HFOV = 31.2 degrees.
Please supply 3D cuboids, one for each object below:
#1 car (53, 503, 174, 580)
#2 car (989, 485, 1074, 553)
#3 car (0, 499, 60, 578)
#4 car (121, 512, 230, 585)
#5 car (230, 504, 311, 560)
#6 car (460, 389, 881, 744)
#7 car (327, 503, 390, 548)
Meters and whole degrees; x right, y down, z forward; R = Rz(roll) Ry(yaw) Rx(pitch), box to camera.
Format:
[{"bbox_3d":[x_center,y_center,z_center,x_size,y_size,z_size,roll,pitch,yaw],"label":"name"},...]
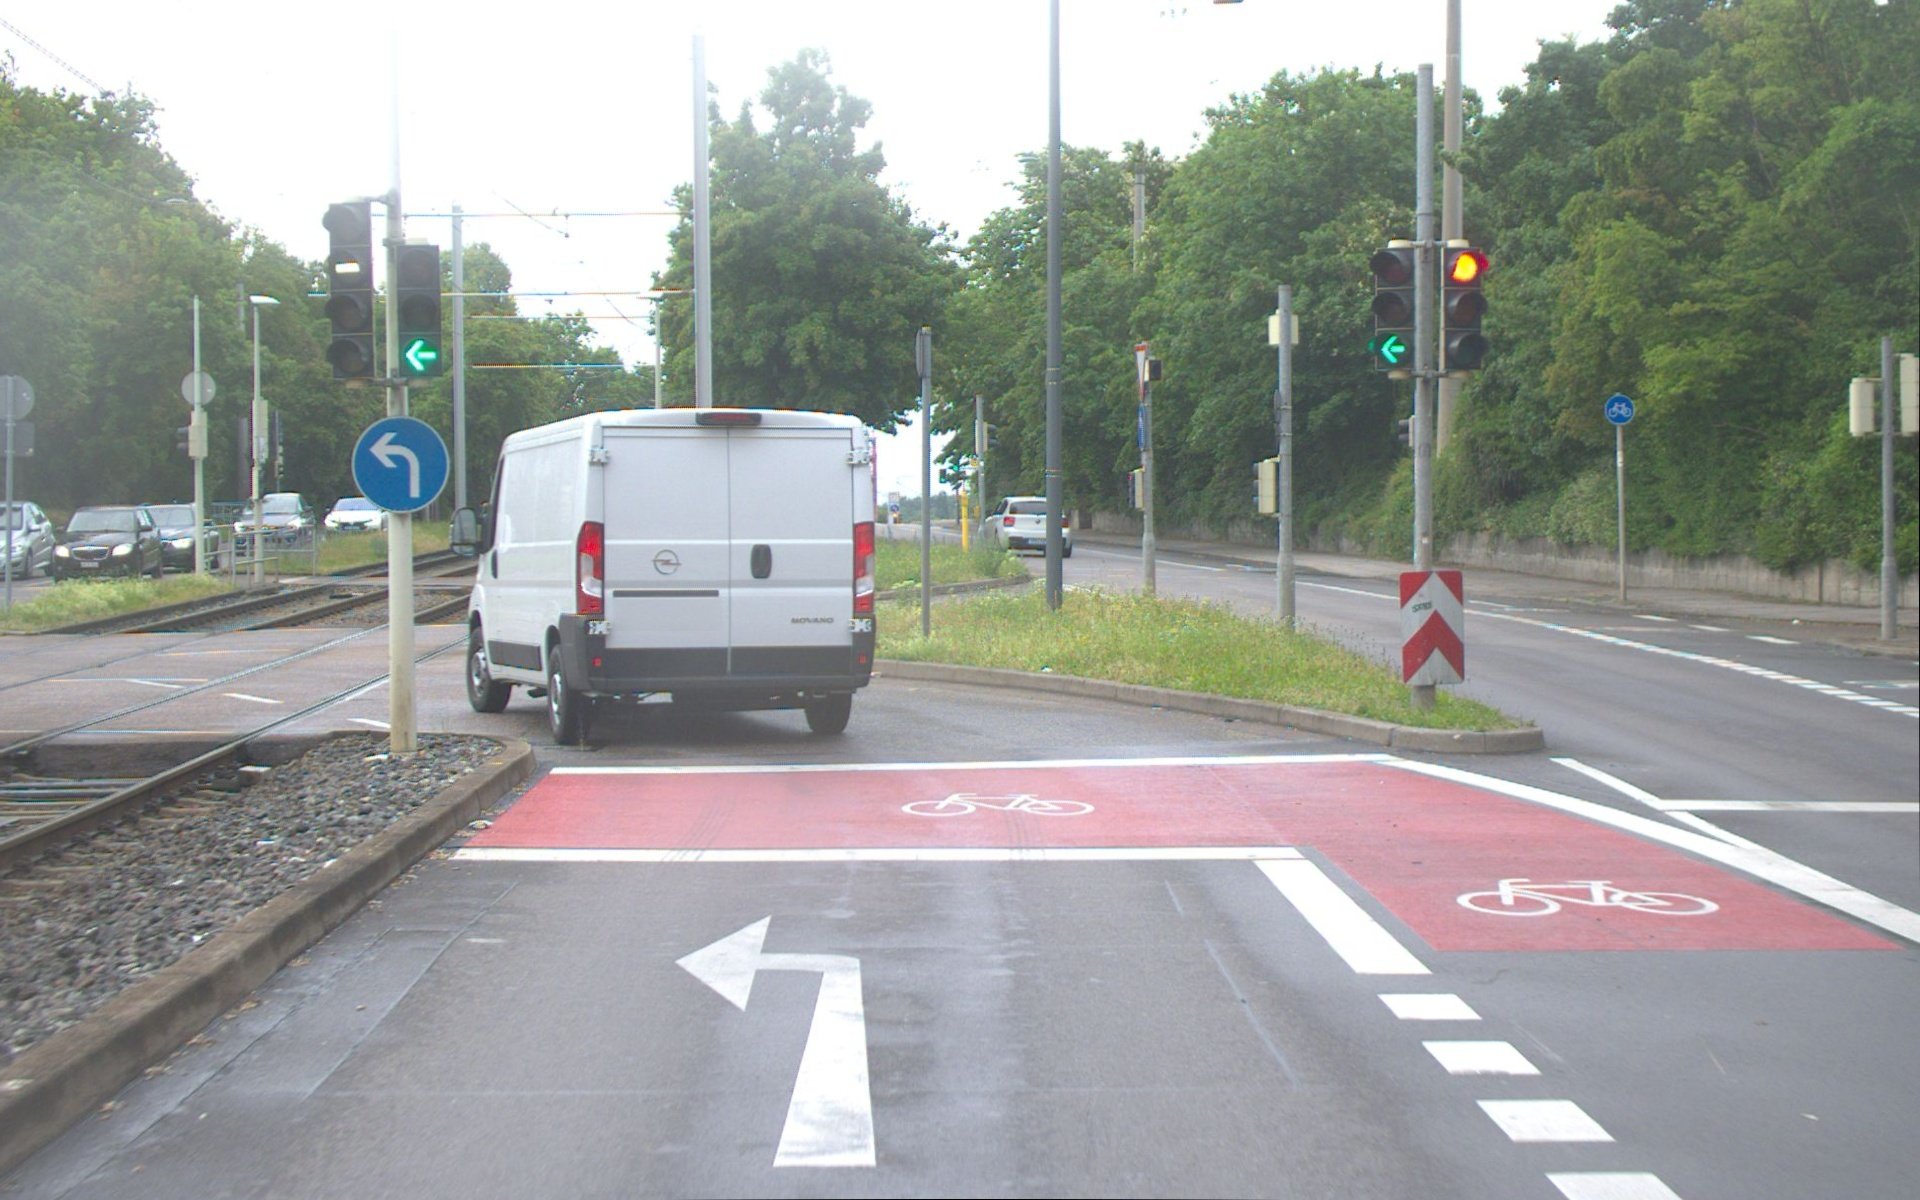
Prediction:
[{"bbox_3d":[-16.422,-1.156,66.844,1.601,1.397,3.792,1,2,-3],"label":"car"},{"bbox_3d":[1.674,-1.944,81.461,1.703,1.516,3.792,1,2,-3],"label":"car"},{"bbox_3d":[-20.007,-1.271,71.481,1.719,1.548,3.864,-3,2,-3],"label":"car"},{"bbox_3d":[-16.395,-1.098,71.987,1.601,1.397,3.792,1,2,-3],"label":"car"},{"bbox_3d":[-18.376,-1.827,91.735,1.601,1.397,3.792,1,2,-3],"label":"car"},{"bbox_3d":[-2.216,-0.338,24.791,2.146,2.275,5.065,-1,3,-15],"label":"car"},{"bbox_3d":[-19.887,-2.475,113.765,1.601,1.397,3.792,1,2,-3],"label":"car"}]
